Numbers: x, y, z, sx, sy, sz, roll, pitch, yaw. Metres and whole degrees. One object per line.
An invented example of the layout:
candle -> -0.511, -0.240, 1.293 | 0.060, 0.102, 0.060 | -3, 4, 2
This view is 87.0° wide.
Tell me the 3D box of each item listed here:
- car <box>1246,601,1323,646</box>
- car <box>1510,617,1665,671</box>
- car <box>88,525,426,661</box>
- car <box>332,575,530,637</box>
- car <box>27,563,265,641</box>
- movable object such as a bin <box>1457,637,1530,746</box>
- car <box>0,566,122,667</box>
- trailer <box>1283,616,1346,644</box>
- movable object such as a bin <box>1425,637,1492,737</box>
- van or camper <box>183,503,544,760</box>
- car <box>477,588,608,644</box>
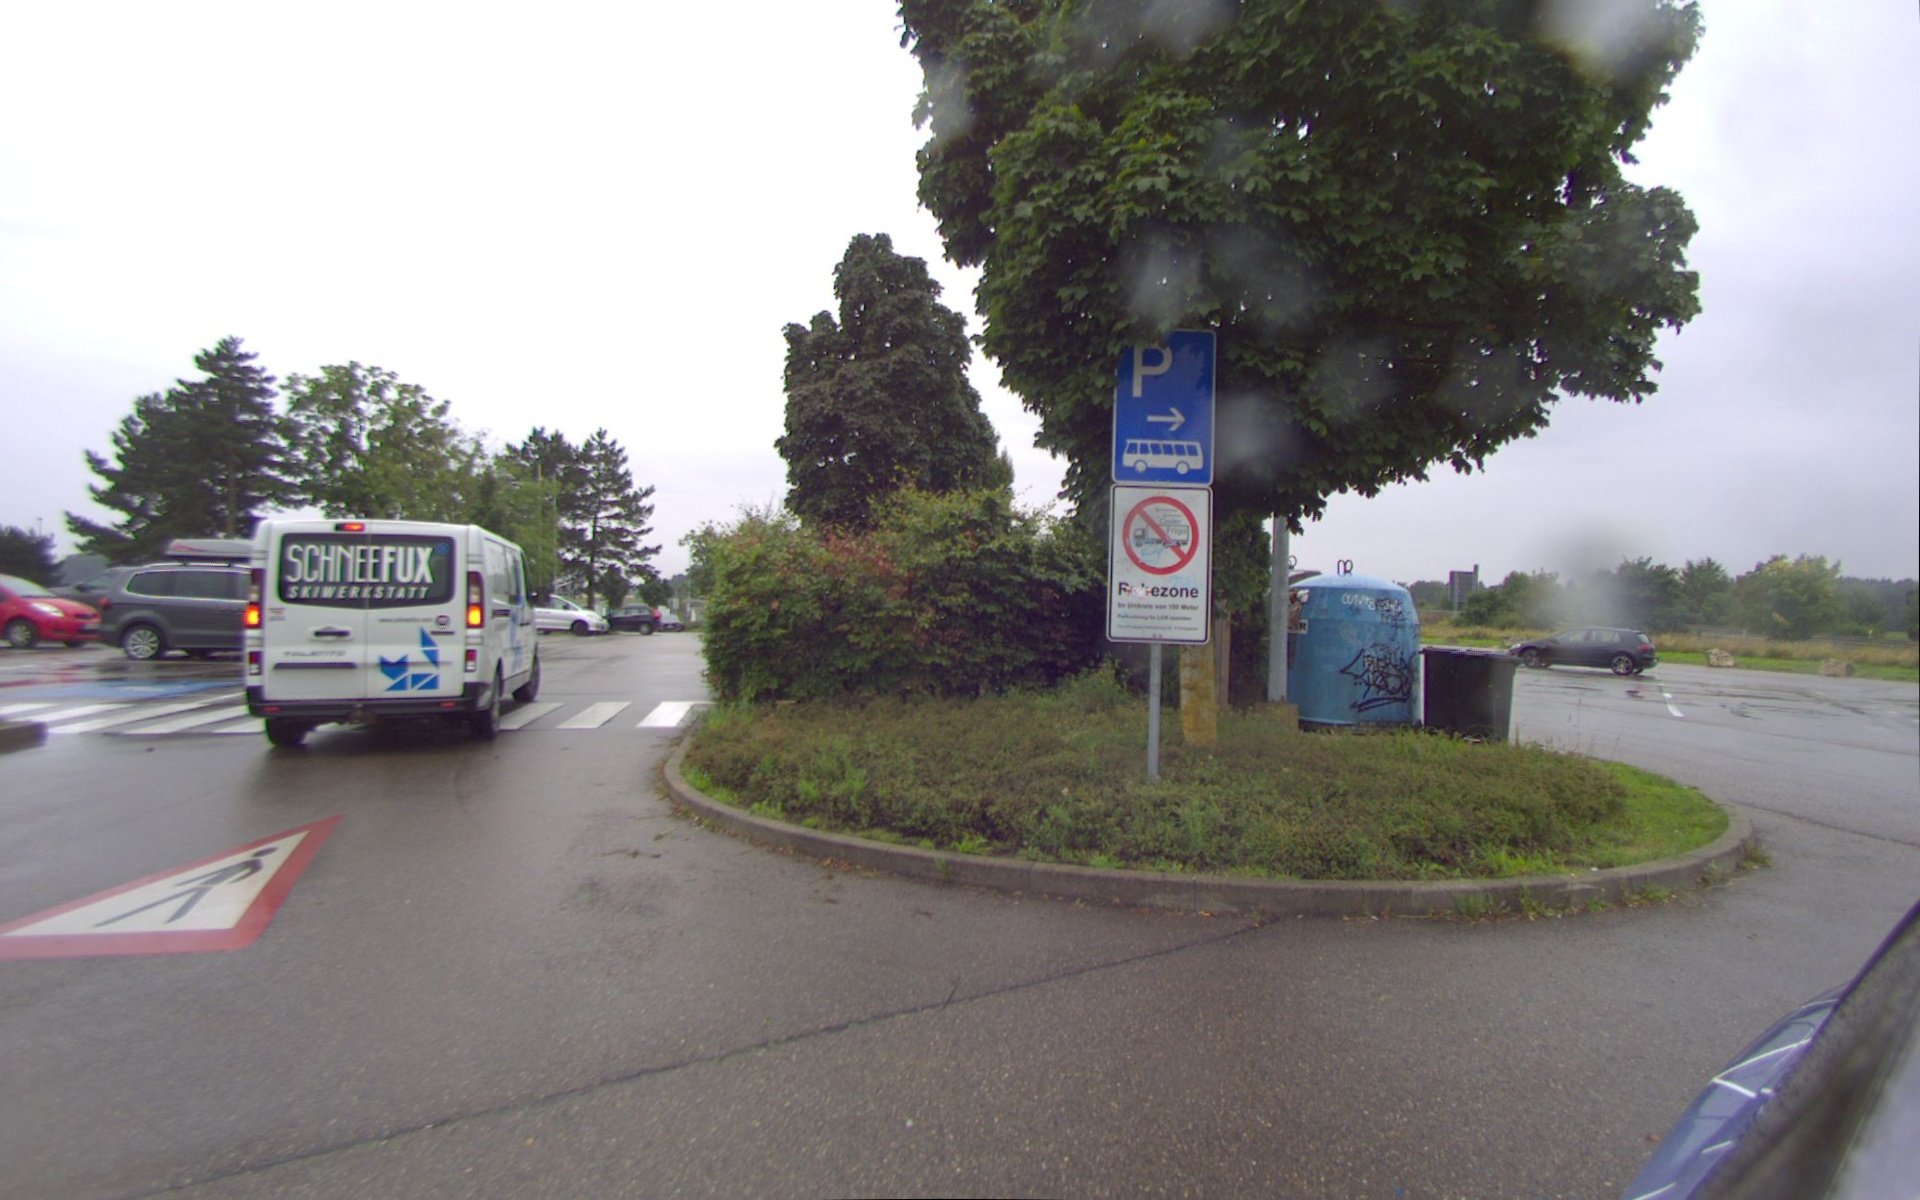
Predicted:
car -> 12.624, 0.920, 39.205 | 1.542, 1.575, 4.000 | 2, 0, 38
car -> 20.541, 1.402, 33.204 | 4.063, 1.451, 1.752 | 3, 0, 42
car -> -12.748, -0.110, 18.669 | 4.670, 2.216, 2.004 | 2, 1, -9
car -> -15.225, 0.156, 29.367 | 4.670, 1.607, 2.004 | 2, 1, -9
car -> -20.676, 0.046, 25.917 | 4.309, 1.800, 1.929 | 2, 1, -12
movable object such as a bin -> 4.980, 0.838, 9.465 | 0.443, 0.950, 0.487 | 2, 0, 11
car -> -19.896, 0.264, 20.315 | 4.309, 1.909, 1.929 | 2, 1, -12
trailer -> 14.805, 1.254, 42.206 | 1.580, 1.081, 2.988 | 2, -1, 38
movable object such as a bin -> 4.927, 0.847, 10.019 | 0.443, 0.928, 0.487 | 2, 0, 11
van or camper -> -5.723, 0.234, 10.562 | 2.148, 1.970, 5.208 | 0, 0, -18
car -> -17.313, 0.656, 42.211 | 4.670, 2.107, 2.004 | 2, 1, -9
